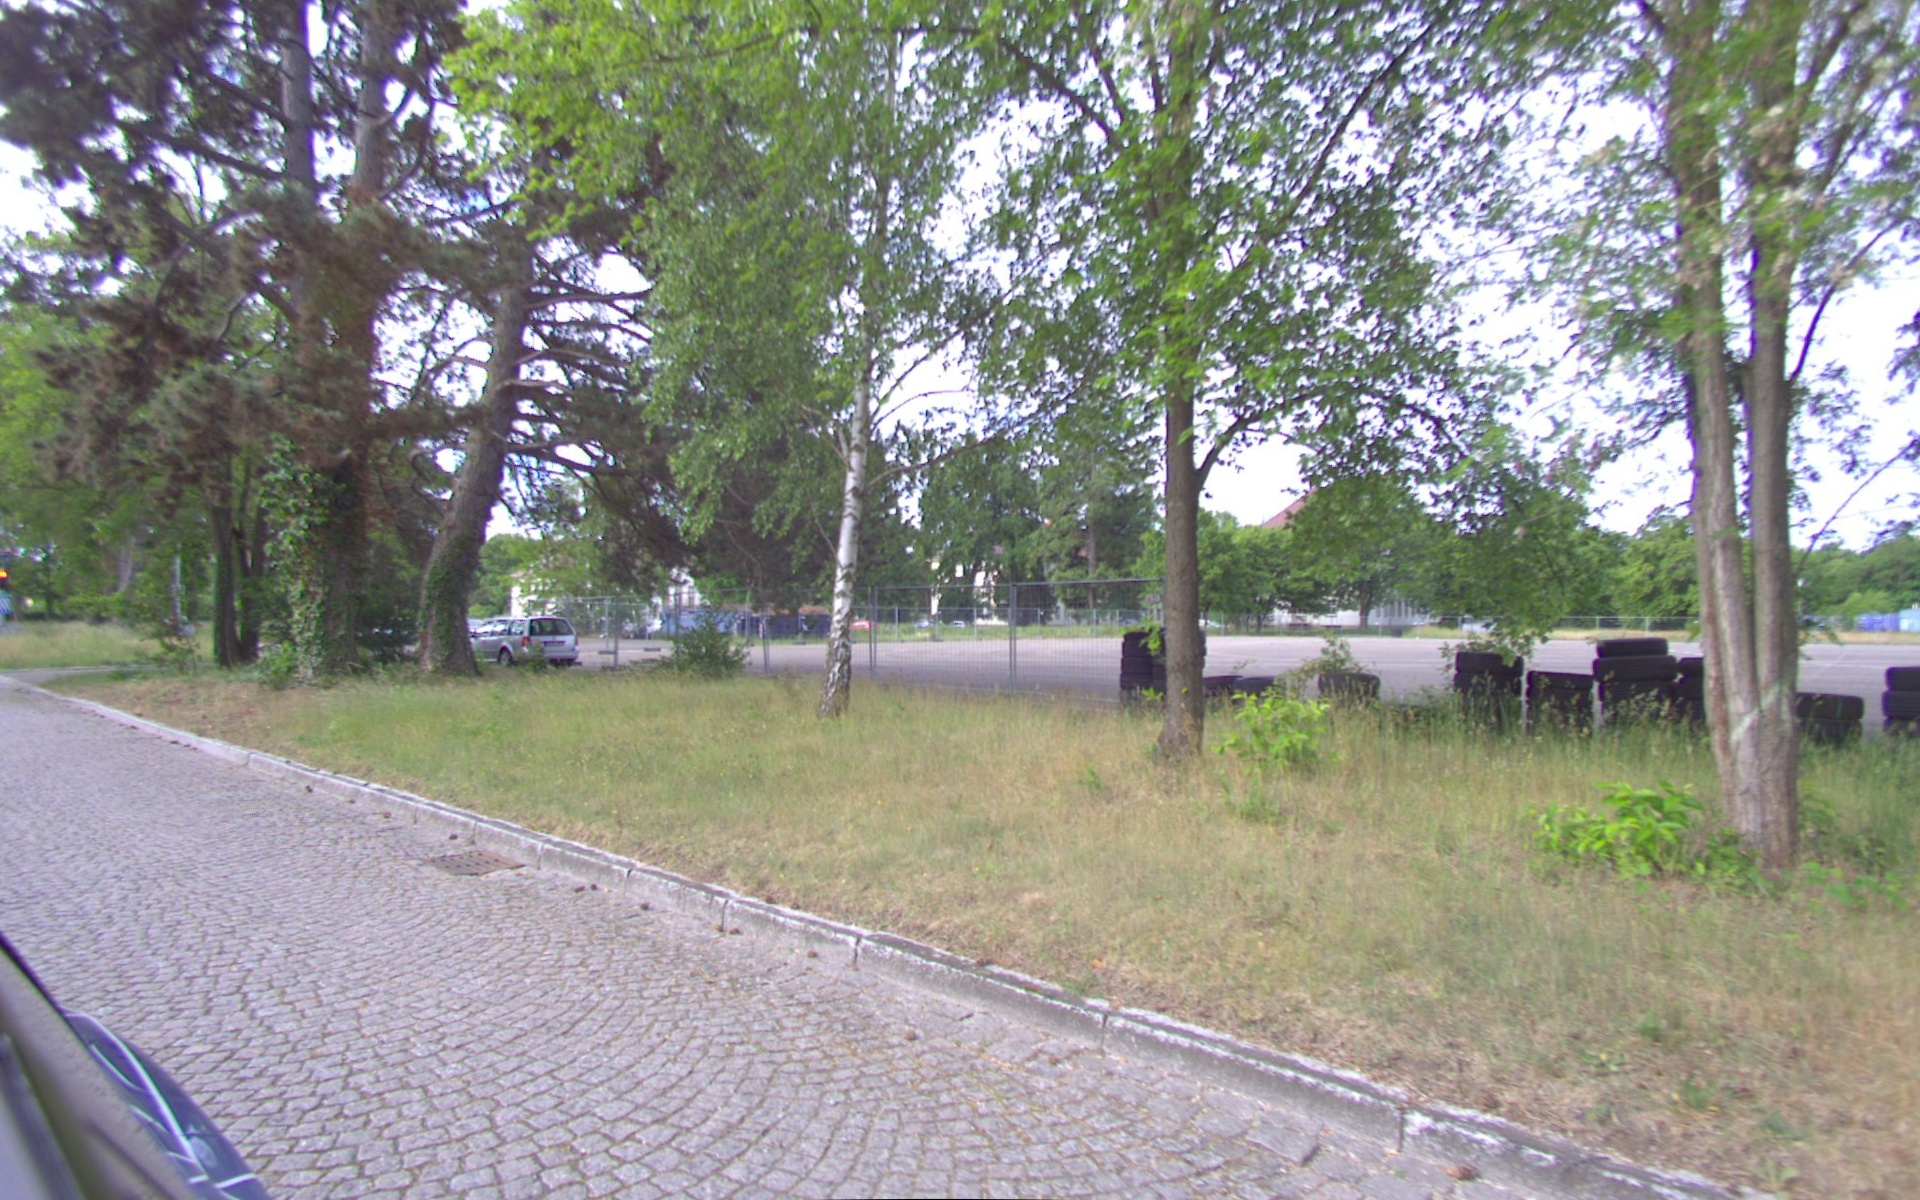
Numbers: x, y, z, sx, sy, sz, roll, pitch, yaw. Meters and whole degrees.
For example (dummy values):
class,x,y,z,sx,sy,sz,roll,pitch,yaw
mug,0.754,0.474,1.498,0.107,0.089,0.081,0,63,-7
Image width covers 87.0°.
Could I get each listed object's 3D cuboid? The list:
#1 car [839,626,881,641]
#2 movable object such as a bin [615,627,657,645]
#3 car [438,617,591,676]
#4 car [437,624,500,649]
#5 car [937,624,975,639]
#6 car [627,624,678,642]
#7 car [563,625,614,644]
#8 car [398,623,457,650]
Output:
class,x,y,z,sx,sy,sz,roll,pitch,yaw
car,-10.302,3.459,104.051,4.399,1.486,1.806,-1,-2,40
movable object such as a bin,-18.490,2.055,57.767,1.952,0.976,1.431,-1,-2,33
car,-11.755,1.226,26.589,4.416,1.427,1.807,-2,-4,39
car,-30.593,2.237,62.986,4.396,1.486,1.807,-1,-2,38
car,-0.505,3.562,115.140,1.802,1.736,4.588,1,-2,-41
car,-26.026,2.793,85.592,4.394,1.486,1.808,-1,-2,36
car,-29.813,2.726,81.253,4.396,1.486,1.807,-1,-2,38
car,-31.967,2.185,60.718,3.893,1.532,1.654,-4,-3,38
